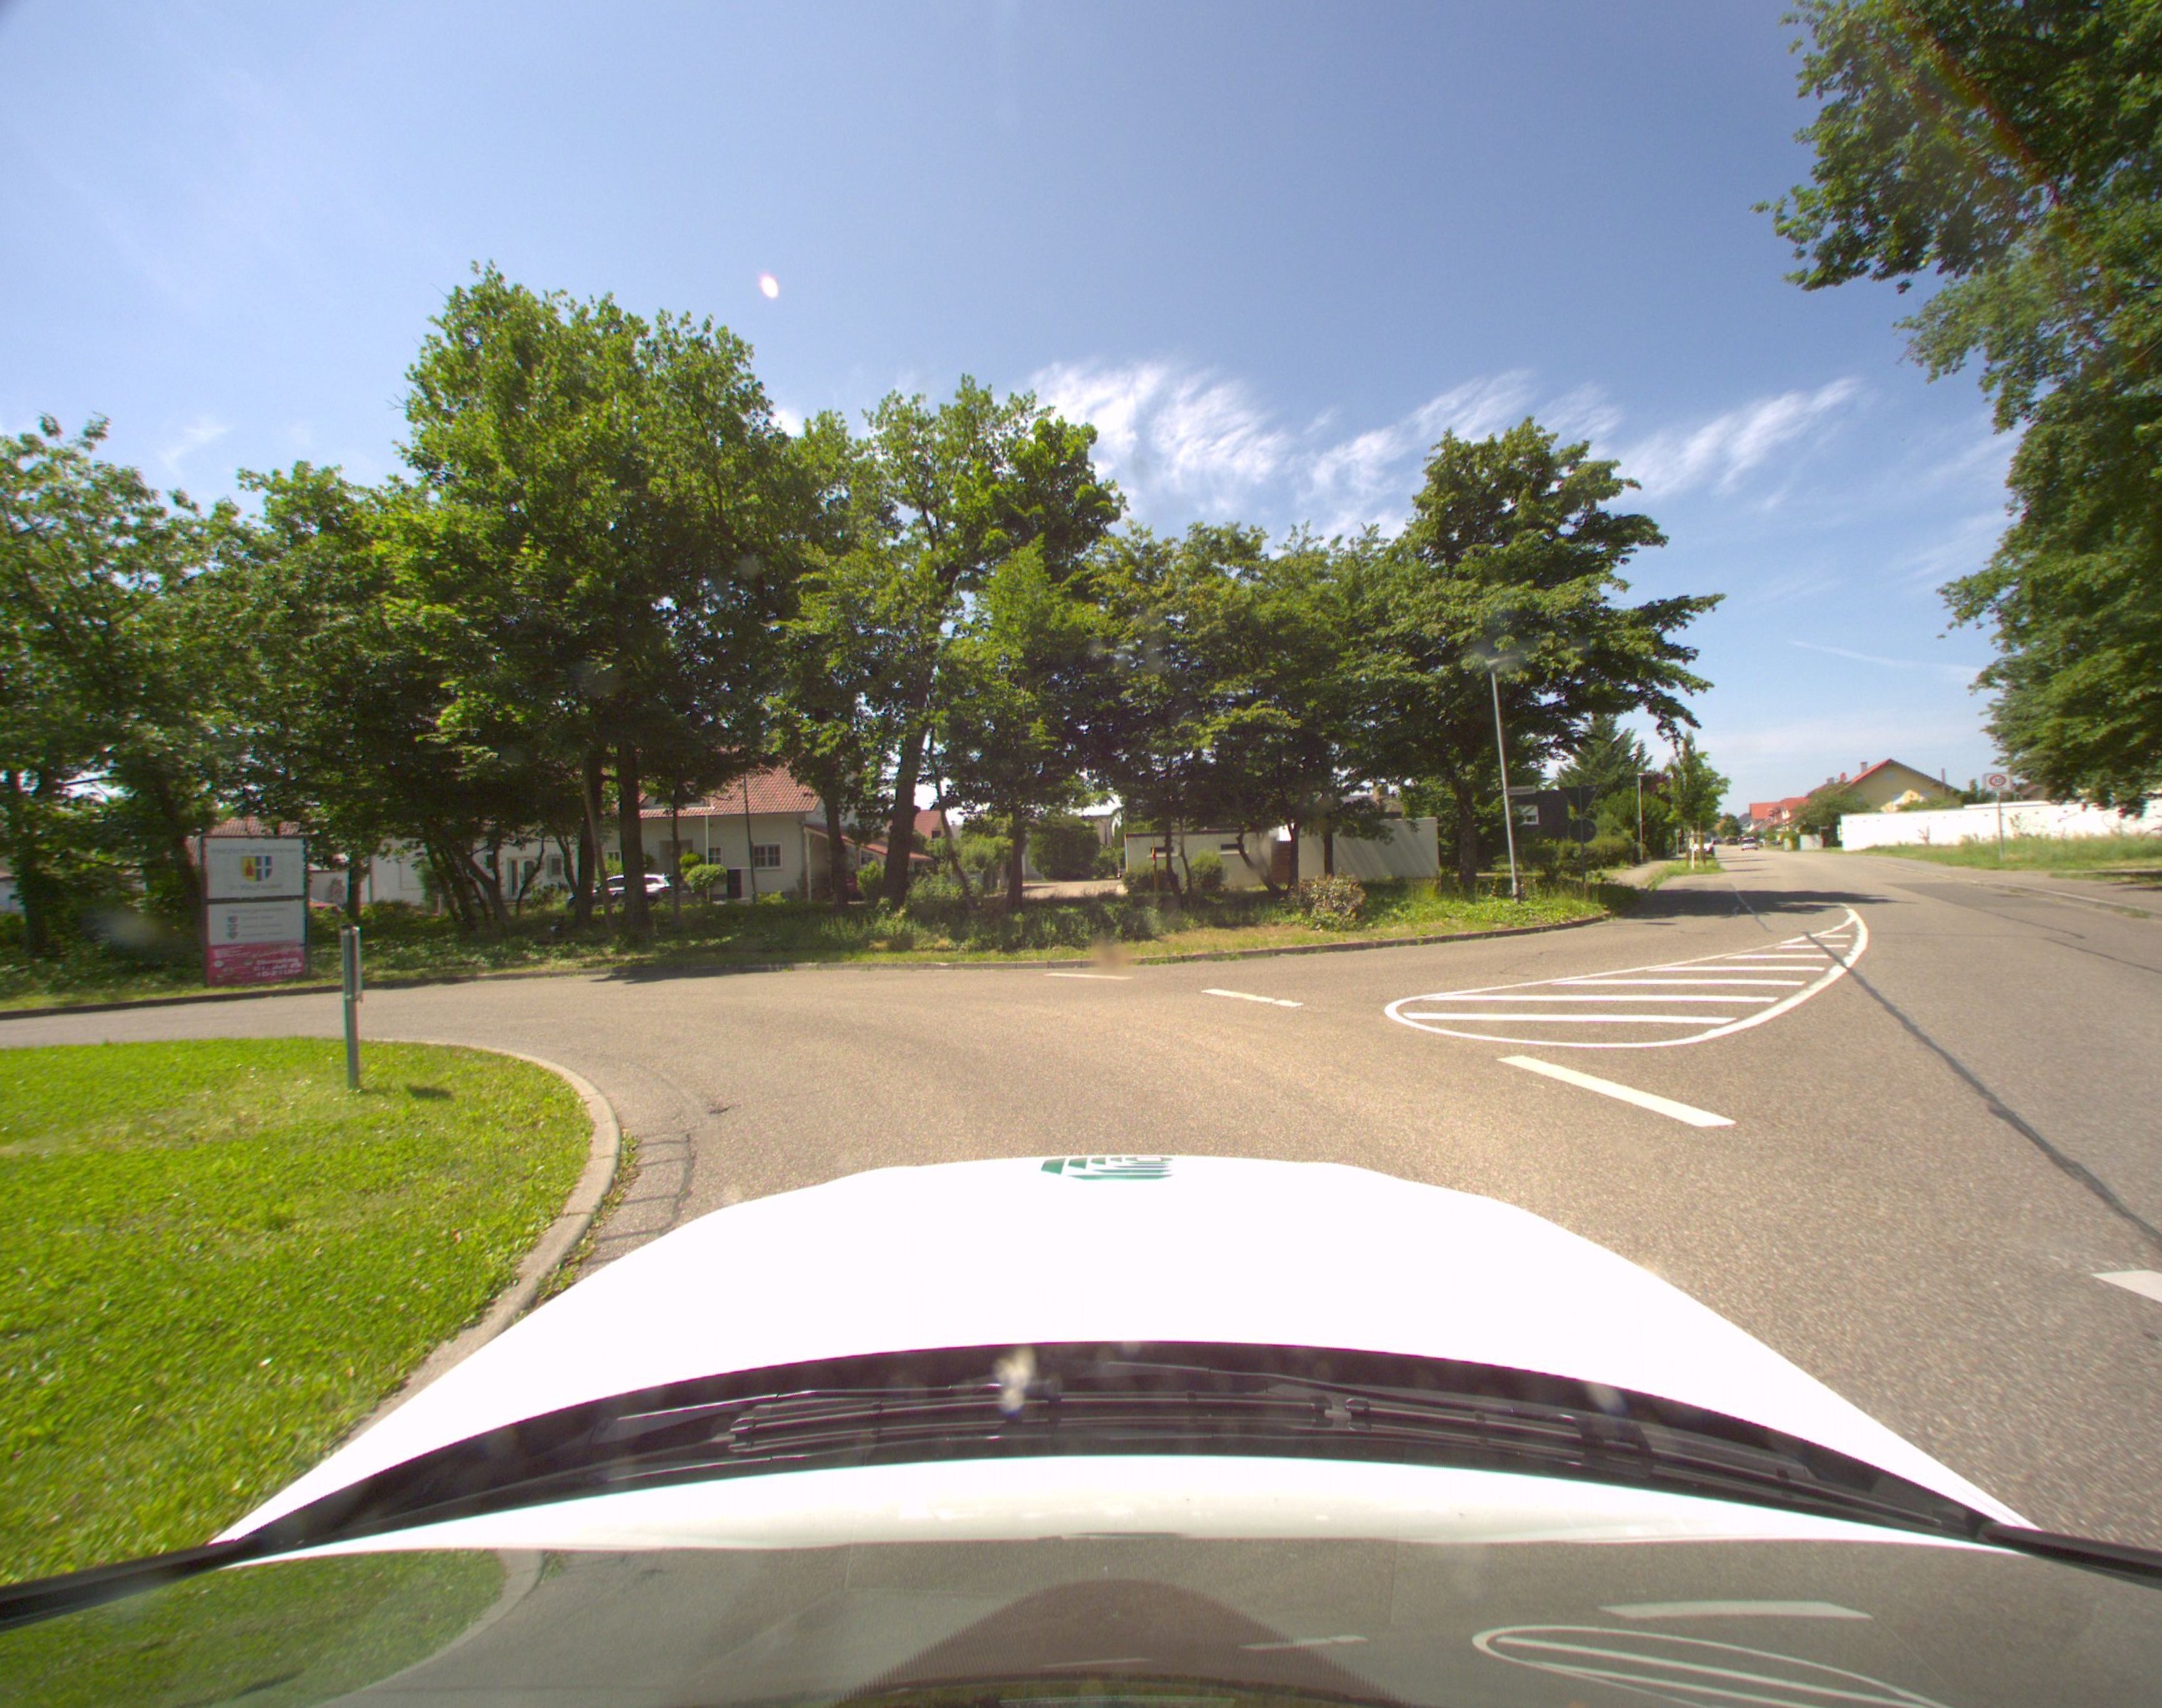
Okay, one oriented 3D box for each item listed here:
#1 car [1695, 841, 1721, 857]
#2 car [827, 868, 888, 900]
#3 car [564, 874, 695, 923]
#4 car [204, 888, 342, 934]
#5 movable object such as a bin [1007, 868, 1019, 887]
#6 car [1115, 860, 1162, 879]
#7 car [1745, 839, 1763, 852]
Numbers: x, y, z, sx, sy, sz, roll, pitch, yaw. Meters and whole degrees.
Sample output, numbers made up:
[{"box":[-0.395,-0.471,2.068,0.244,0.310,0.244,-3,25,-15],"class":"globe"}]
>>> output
[{"box":[64.349,-0.469,83.615,1.736,1.480,3.819,-3,-3,32],"class":"car"},{"box":[-10.714,1.409,39.262,1.672,1.385,3.698,-2,0,4],"class":"car"},{"box":[-17.582,1.709,31.857,4.117,1.705,1.666,-2,-1,0],"class":"car"},{"box":[-32.398,2.273,32.705,3.995,1.601,1.668,-2,-1,4],"class":"car"},{"box":[-4.323,1.497,51.922,0.655,1.112,0.457,-2,-1,-1],"class":"movable object such as a bin"},{"box":[4.176,1.101,59.080,3.258,1.253,1.573,-2,0,-1],"class":"car"},{"box":[97.847,-1.226,118.390,1.818,1.661,4.025,-4,-3,38],"class":"car"}]
